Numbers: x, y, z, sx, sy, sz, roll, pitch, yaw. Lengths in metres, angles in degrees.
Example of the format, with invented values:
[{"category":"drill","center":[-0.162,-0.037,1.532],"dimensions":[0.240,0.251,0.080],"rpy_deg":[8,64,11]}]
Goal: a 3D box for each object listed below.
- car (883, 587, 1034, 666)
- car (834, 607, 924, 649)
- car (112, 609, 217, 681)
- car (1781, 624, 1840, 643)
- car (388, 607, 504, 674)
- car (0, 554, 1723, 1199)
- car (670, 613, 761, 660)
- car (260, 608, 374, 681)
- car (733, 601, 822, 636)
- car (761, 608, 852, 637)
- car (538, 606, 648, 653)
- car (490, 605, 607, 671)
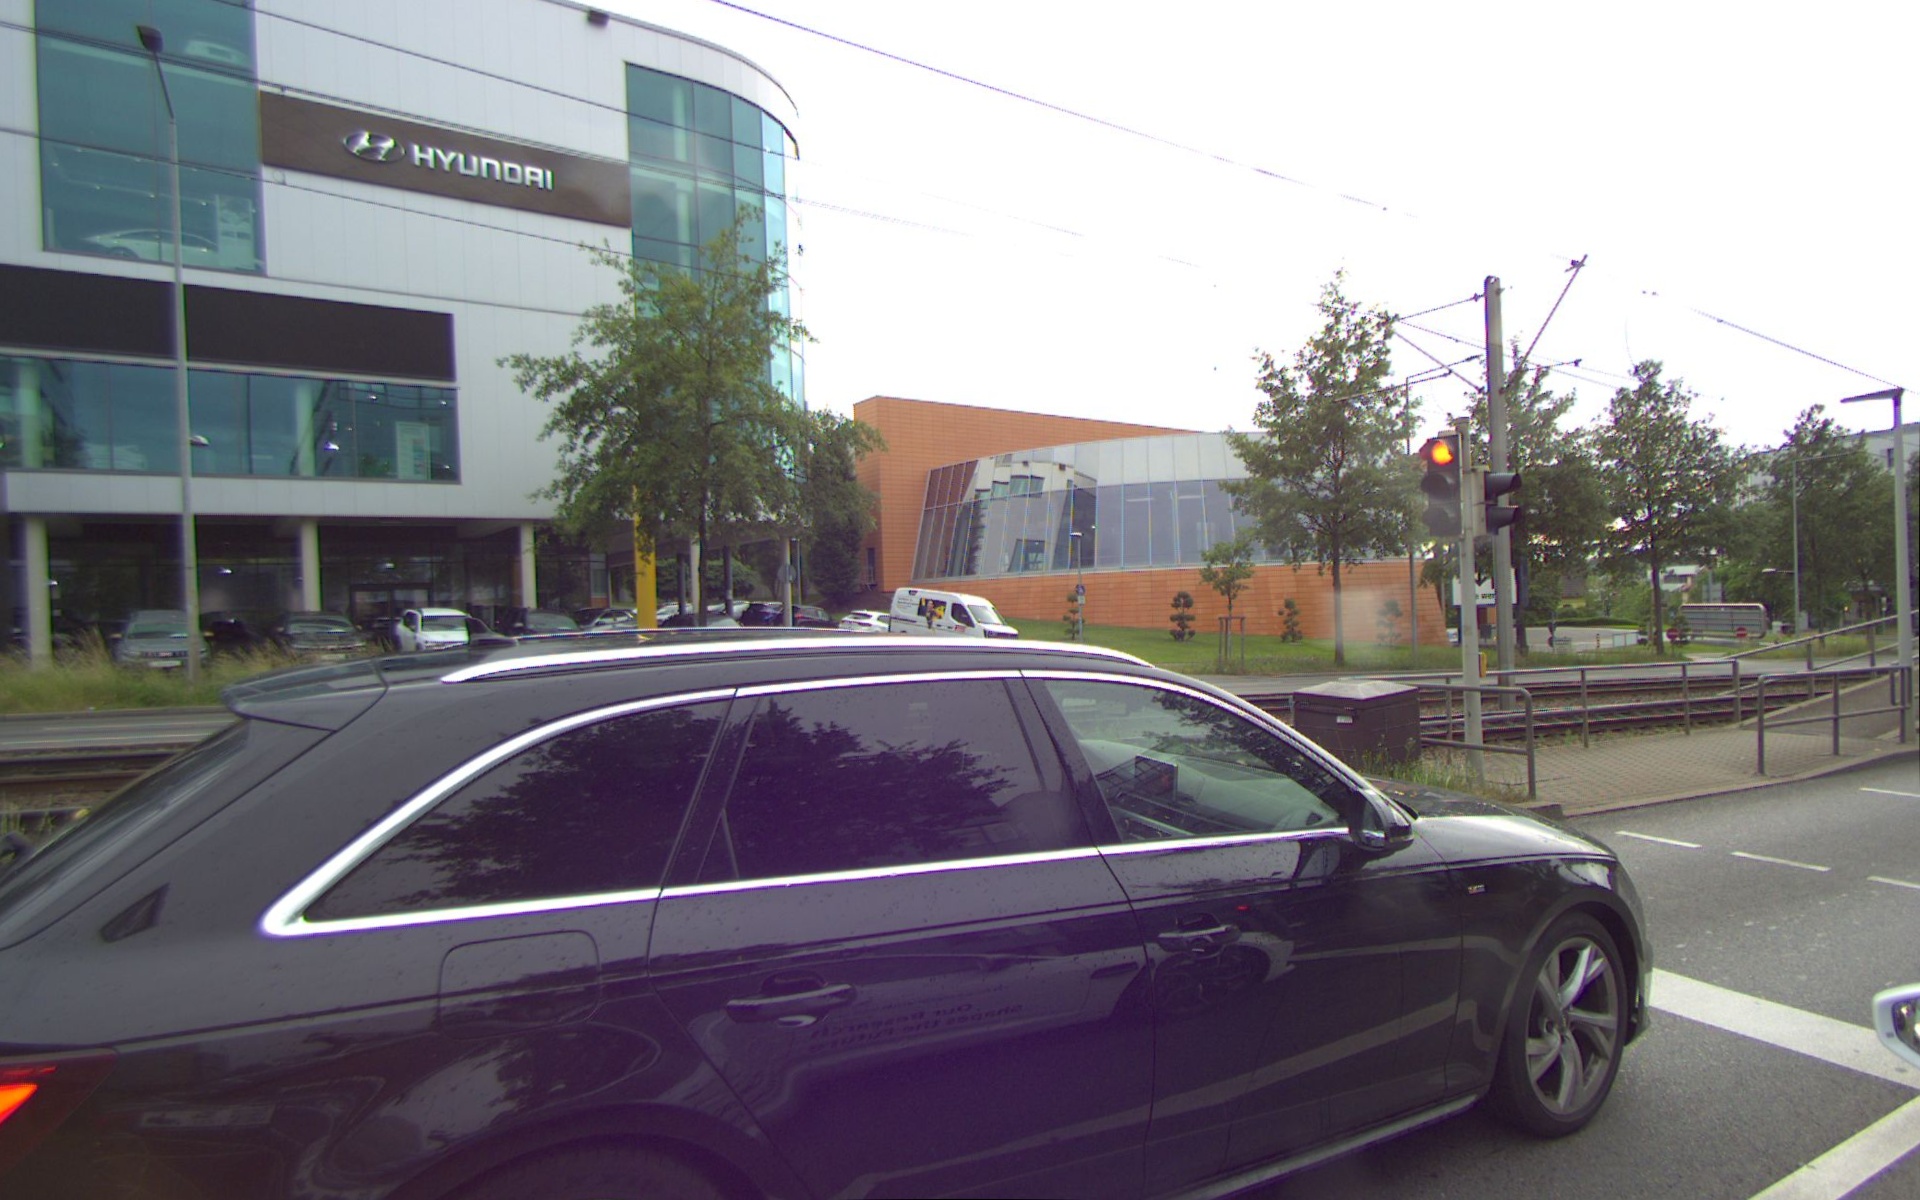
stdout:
[{"category":"car","center":[-0.125,0.914,38.109],"dimensions":[5.544,2.616,2.392],"rpy_deg":[3,1,43]},{"category":"car","center":[-3.345,1.161,42.159],"dimensions":[1.703,1.688,3.734],"rpy_deg":[1,-1,38]},{"category":"car","center":[-19.871,1.058,25.064],"dimensions":[1.917,1.479,3.974],"rpy_deg":[1,1,-40]},{"category":"car","center":[66.386,2.572,78.442],"dimensions":[1.408,1.405,3.371],"rpy_deg":[0,0,-13]},{"category":"car","center":[-14.504,1.074,28.245],"dimensions":[1.984,1.571,4.324],"rpy_deg":[1,1,-40]},{"category":"car","center":[0.118,0.725,2.889],"dimensions":[4.461,1.486,1.772],"rpy_deg":[1,-1,-31]},{"category":"car","center":[-7.775,1.111,31.788],"dimensions":[1.565,1.409,3.619],"rpy_deg":[0,-1,-36]},{"category":"car","center":[-16.962,1.105,26.390],"dimensions":[1.984,1.571,4.324],"rpy_deg":[1,1,-40]},{"category":"car","center":[-8.873,0.907,49.078],"dimensions":[1.969,1.653,3.982],"rpy_deg":[0,-1,39]},{"category":"car","center":[-7.223,1.062,47.513],"dimensions":[1.969,1.297,3.982],"rpy_deg":[0,-1,39]},{"category":"car","center":[-12.837,1.011,35.339],"dimensions":[1.691,1.572,3.587],"rpy_deg":[0,-1,20]},{"category":"car","center":[-12.287,1.077,29.863],"dimensions":[1.984,1.637,4.324],"rpy_deg":[1,1,-40]}]
